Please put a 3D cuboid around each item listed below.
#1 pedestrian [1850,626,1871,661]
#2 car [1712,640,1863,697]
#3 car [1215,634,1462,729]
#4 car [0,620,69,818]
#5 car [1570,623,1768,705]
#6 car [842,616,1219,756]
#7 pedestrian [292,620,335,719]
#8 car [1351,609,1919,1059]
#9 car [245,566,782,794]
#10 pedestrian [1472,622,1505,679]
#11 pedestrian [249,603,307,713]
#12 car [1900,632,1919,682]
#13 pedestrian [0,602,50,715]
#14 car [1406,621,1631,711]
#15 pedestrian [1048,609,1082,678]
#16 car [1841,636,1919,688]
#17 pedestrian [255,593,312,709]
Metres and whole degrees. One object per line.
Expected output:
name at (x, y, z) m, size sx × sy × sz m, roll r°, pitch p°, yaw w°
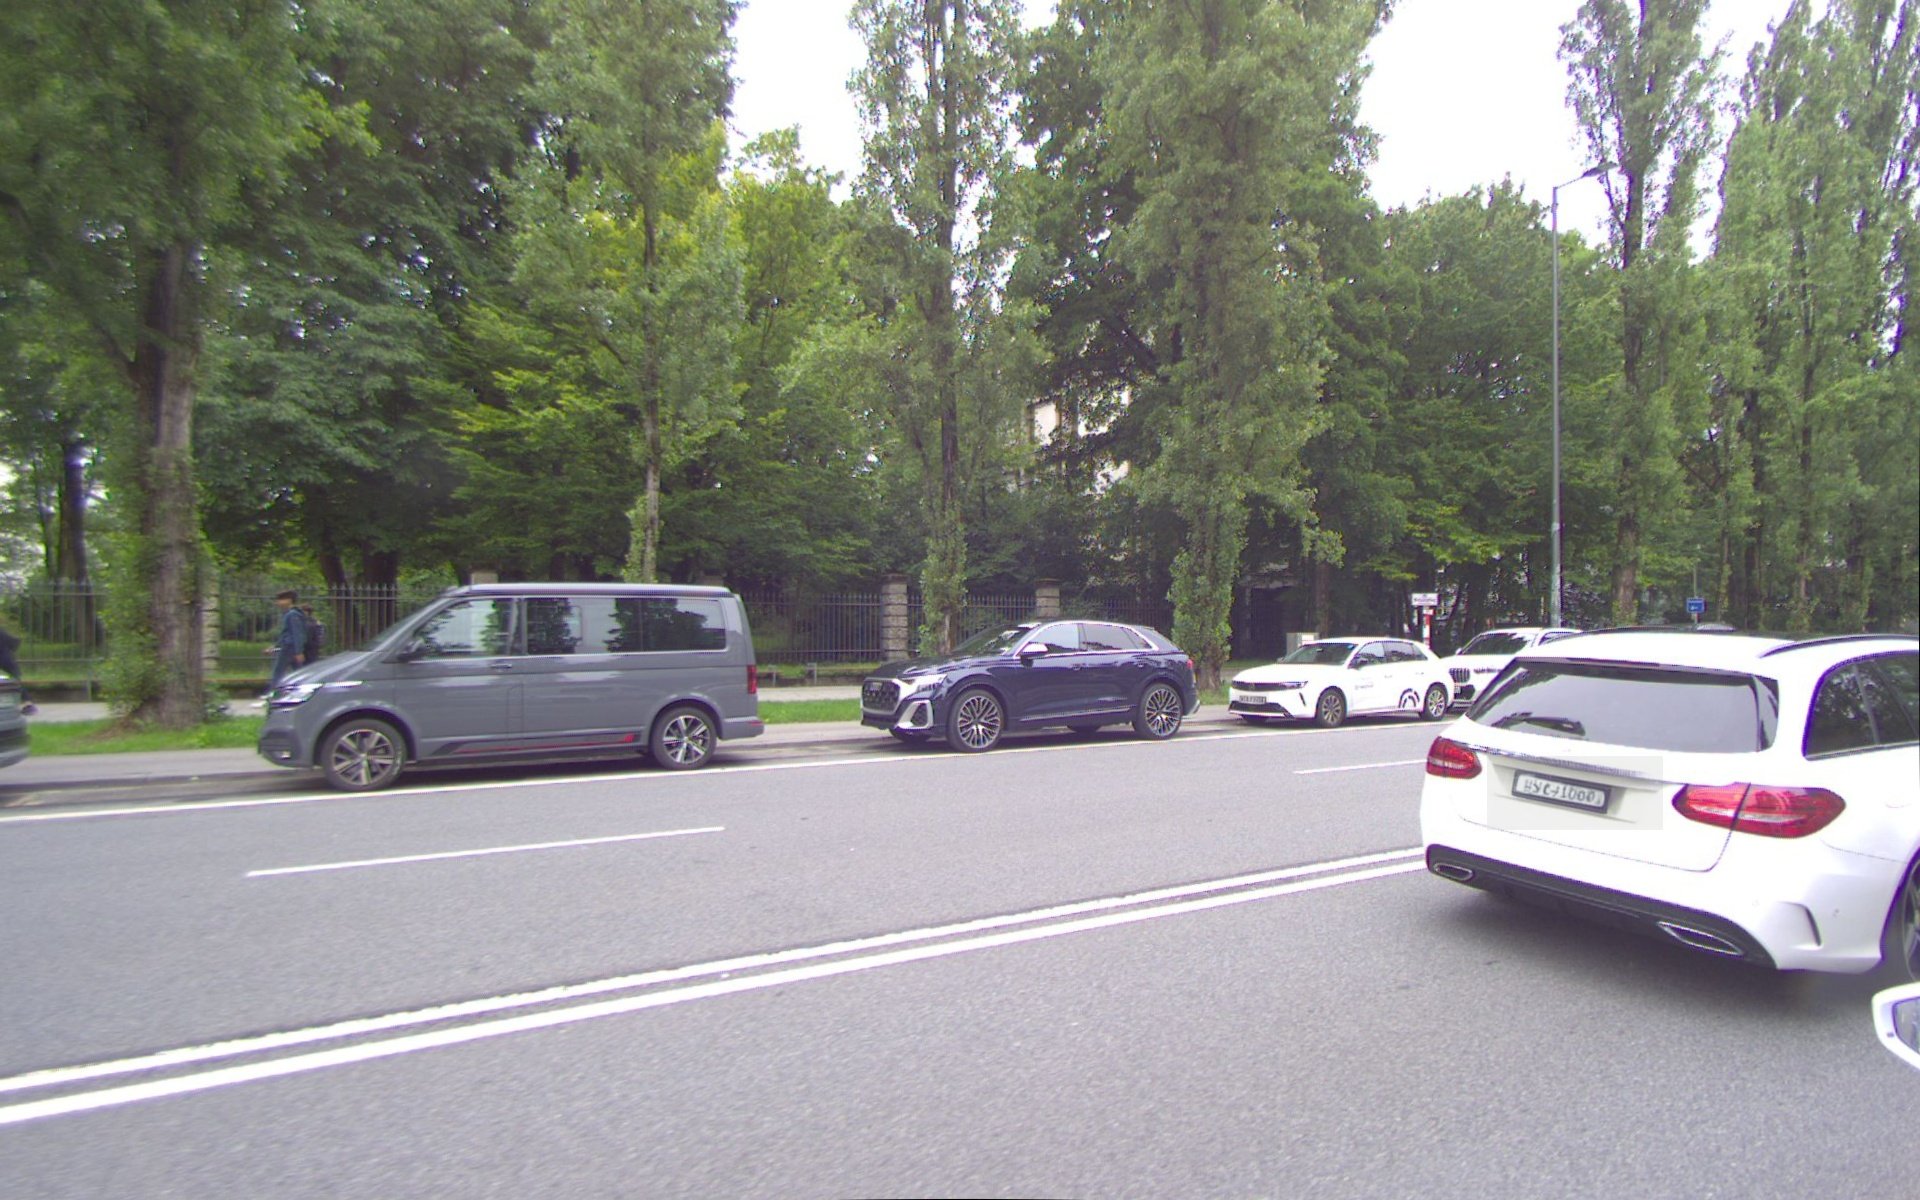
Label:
pedestrian at (45.656, 2.220, 50.934) m, size 0.632 × 1.762 × 0.597 m, roll 1°, pitch -1°, yaw -29°
car at (20.880, 1.700, 25.321) m, size 3.979 × 1.321 × 1.574 m, roll 1°, pitch -3°, yaw -29°
car at (6.483, 1.327, 17.108) m, size 4.187 × 1.440 × 1.669 m, roll 1°, pitch -3°, yaw -30°
car at (-10.202, 0.961, 7.779) m, size 4.599 × 1.605 × 1.882 m, roll 1°, pitch -2°, yaw -30°
car at (15.993, 1.394, 22.617) m, size 4.663 × 1.680 × 1.871 m, roll 1°, pitch -4°, yaw -31°
car at (1.042, 1.102, 13.730) m, size 4.993 × 1.629 × 1.807 m, roll 1°, pitch -4°, yaw -30°
pedestrian at (-11.284, 1.200, 17.548) m, size 0.541 × 1.697 × 0.583 m, roll 1°, pitch -1°, yaw -26°
car at (4.327, 0.827, 5.240) m, size 4.527 × 1.474 × 1.817 m, roll 1°, pitch -1°, yaw -29°
car at (-4.584, 0.767, 10.843) m, size 4.878 × 1.982 × 1.985 m, roll 1°, pitch -3°, yaw -30°
pedestrian at (17.312, 1.646, 32.915) m, size 0.766 × 1.839 × 0.637 m, roll 1°, pitch -1°, yaw -29°
pedestrian at (-12.012, 0.996, 17.715) m, size 0.748 × 1.879 × 0.744 m, roll 1°, pitch -1°, yaw -28°
car at (31.890, 1.805, 32.209) m, size 4.077 × 1.538 × 1.732 m, roll 2°, pitch -3°, yaw -35°
pedestrian at (-14.138, 0.858, 14.904) m, size 0.781 × 1.639 × 0.706 m, roll 1°, pitch -1°, yaw -29°
car at (10.982, 1.243, 19.700) m, size 4.406 × 1.609 × 1.778 m, roll 1°, pitch -3°, yaw -29°
pedestrian at (2.746, 1.130, 26.214) m, size 0.665 × 1.771 × 0.547 m, roll 1°, pitch -1°, yaw -30°
car at (28.115, 1.819, 29.909) m, size 3.958 × 1.431 × 1.677 m, roll 1°, pitch -3°, yaw -31°
pedestrian at (-11.326, 0.842, 16.835) m, size 0.714 × 1.884 × 0.506 m, roll 1°, pitch -1°, yaw -29°
